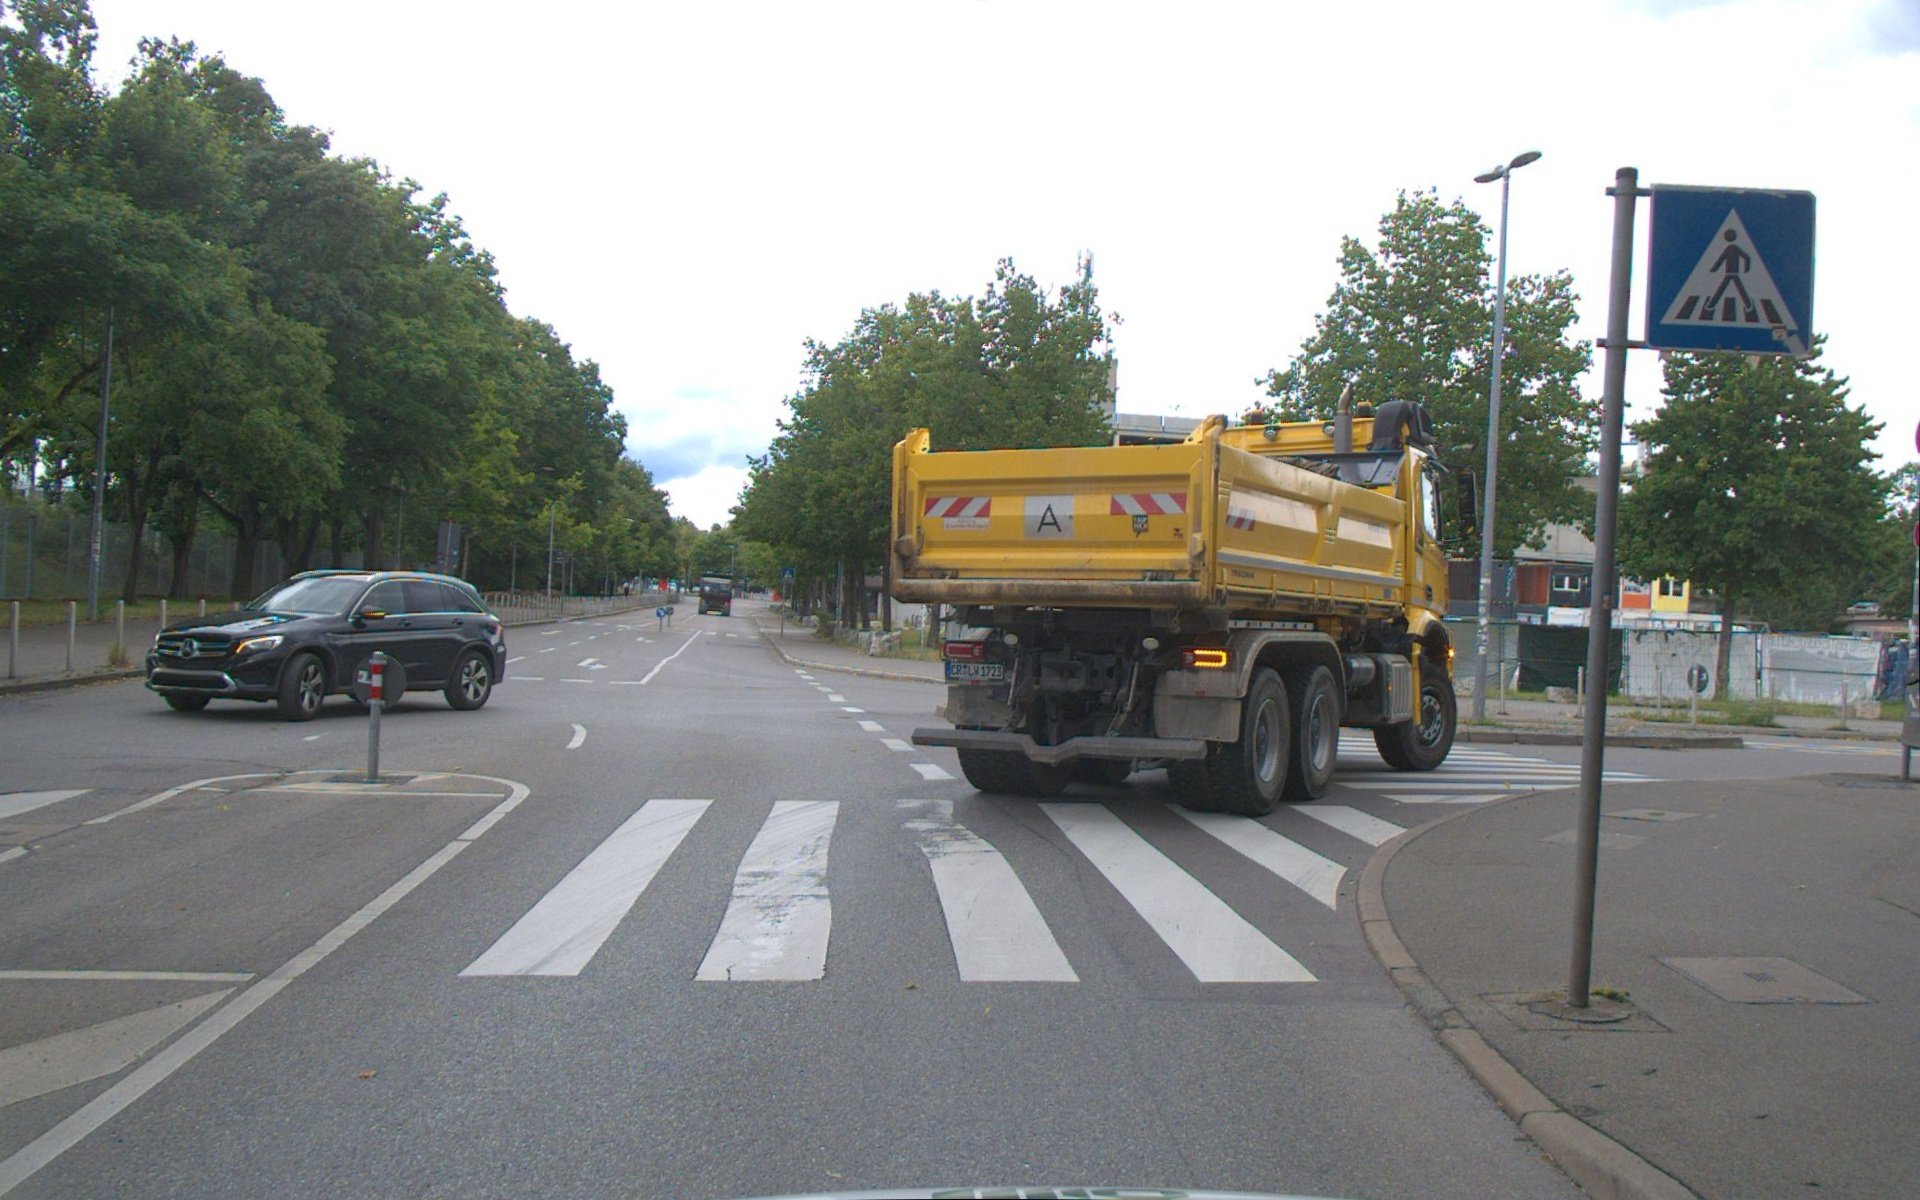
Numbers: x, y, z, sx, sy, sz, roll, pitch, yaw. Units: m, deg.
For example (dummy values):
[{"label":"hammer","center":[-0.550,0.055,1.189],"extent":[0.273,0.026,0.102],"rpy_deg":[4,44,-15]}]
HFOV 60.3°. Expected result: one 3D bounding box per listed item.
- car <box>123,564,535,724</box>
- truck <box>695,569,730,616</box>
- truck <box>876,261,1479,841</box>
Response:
[{"label":"car","center":[-7.197,0.471,19.410],"extent":[1.803,1.602,4.547],"rpy_deg":[2,0,24]},{"label":"truck","center":[-19.807,-0.532,132.348],"extent":[2.623,3.621,7.907],"rpy_deg":[0,-1,-9]},{"label":"truck","center":[2.456,-0.283,14.847],"extent":[2.705,3.763,7.867],"rpy_deg":[-1,-1,29]}]
